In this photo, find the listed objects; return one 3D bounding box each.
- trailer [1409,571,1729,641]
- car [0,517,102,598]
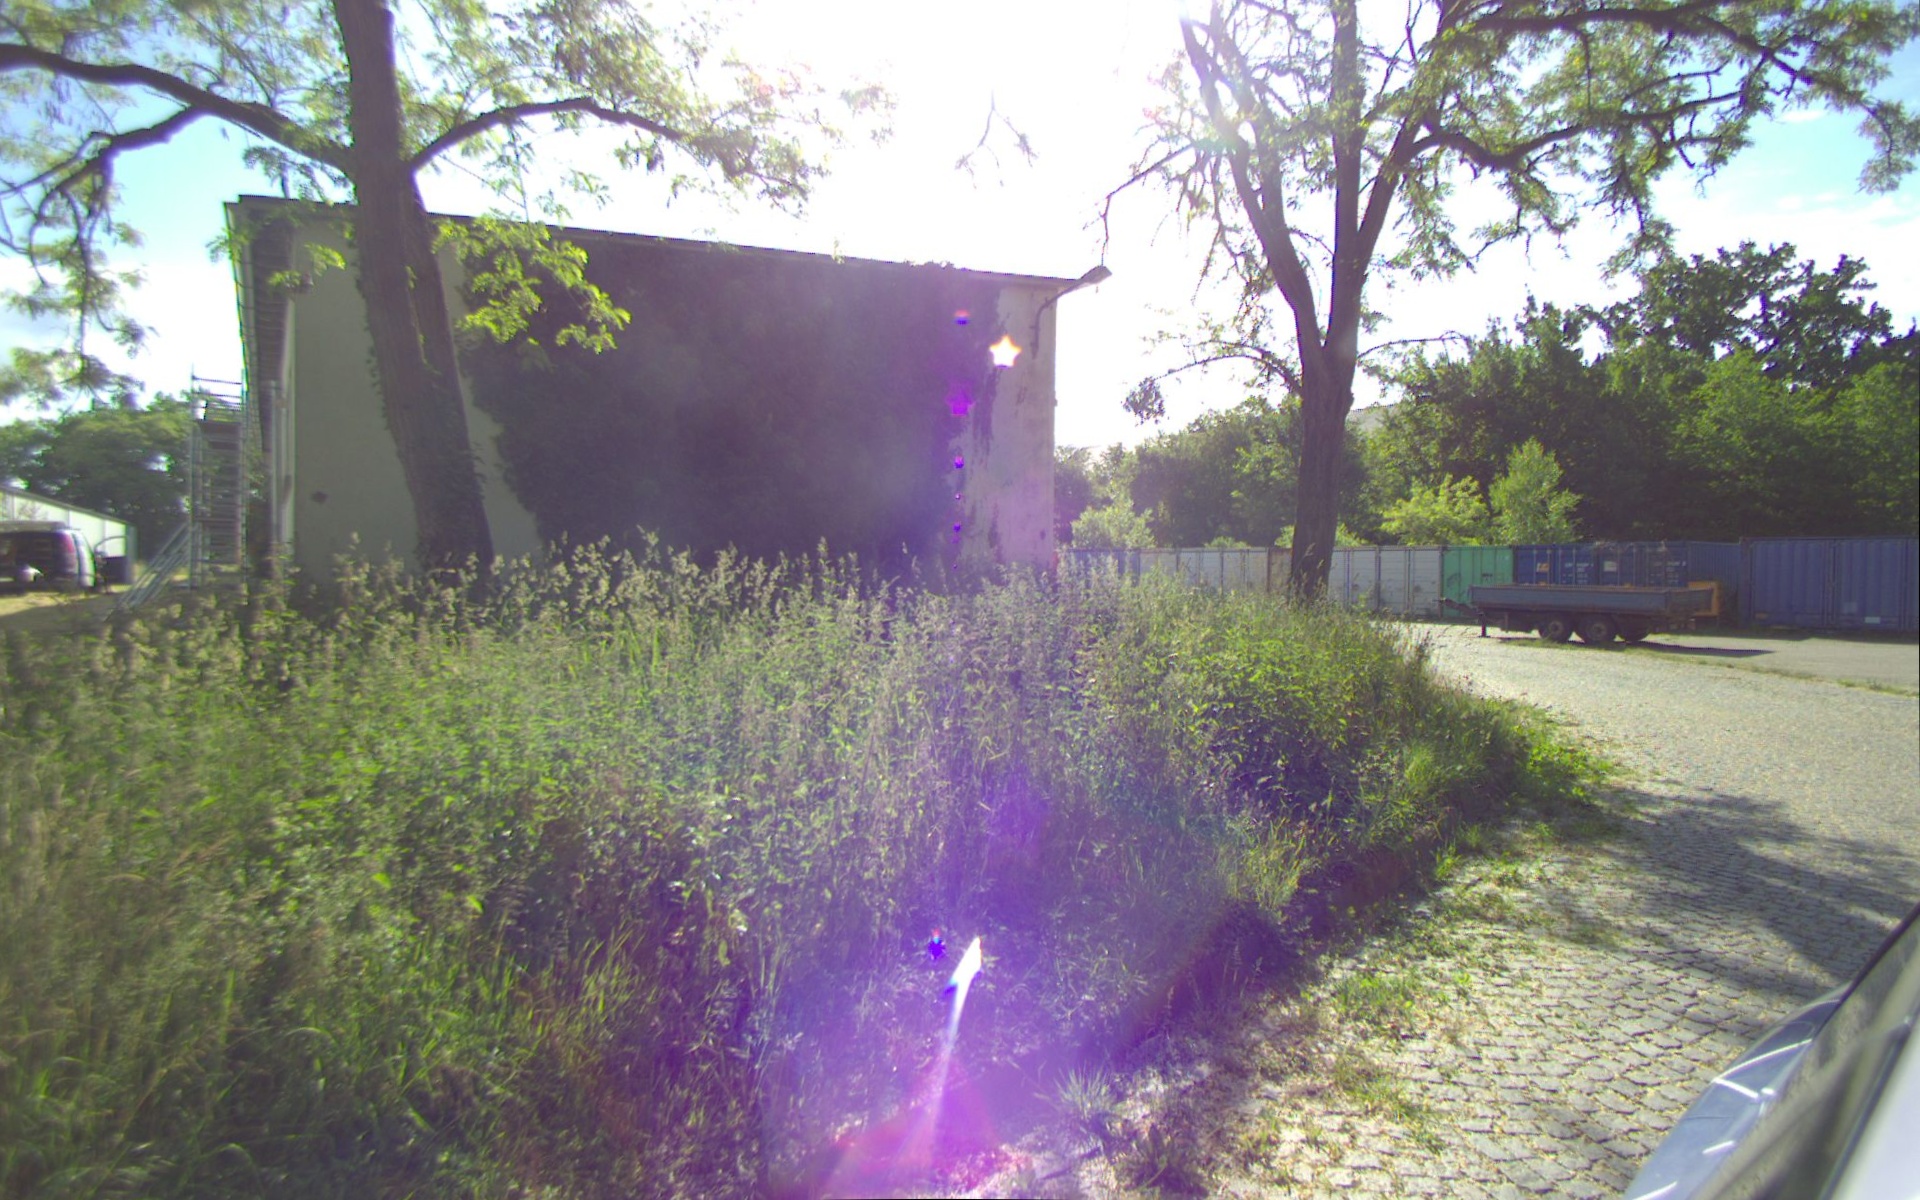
[{"bbox_3d":[15.364,0.051,26.003,2.802,1.536,6.494,-2,2,-35],"label":"trailer"},{"bbox_3d":[-25.016,-1.147,27.688,1.962,2.038,4.001,0,2,-35],"label":"car"}]
